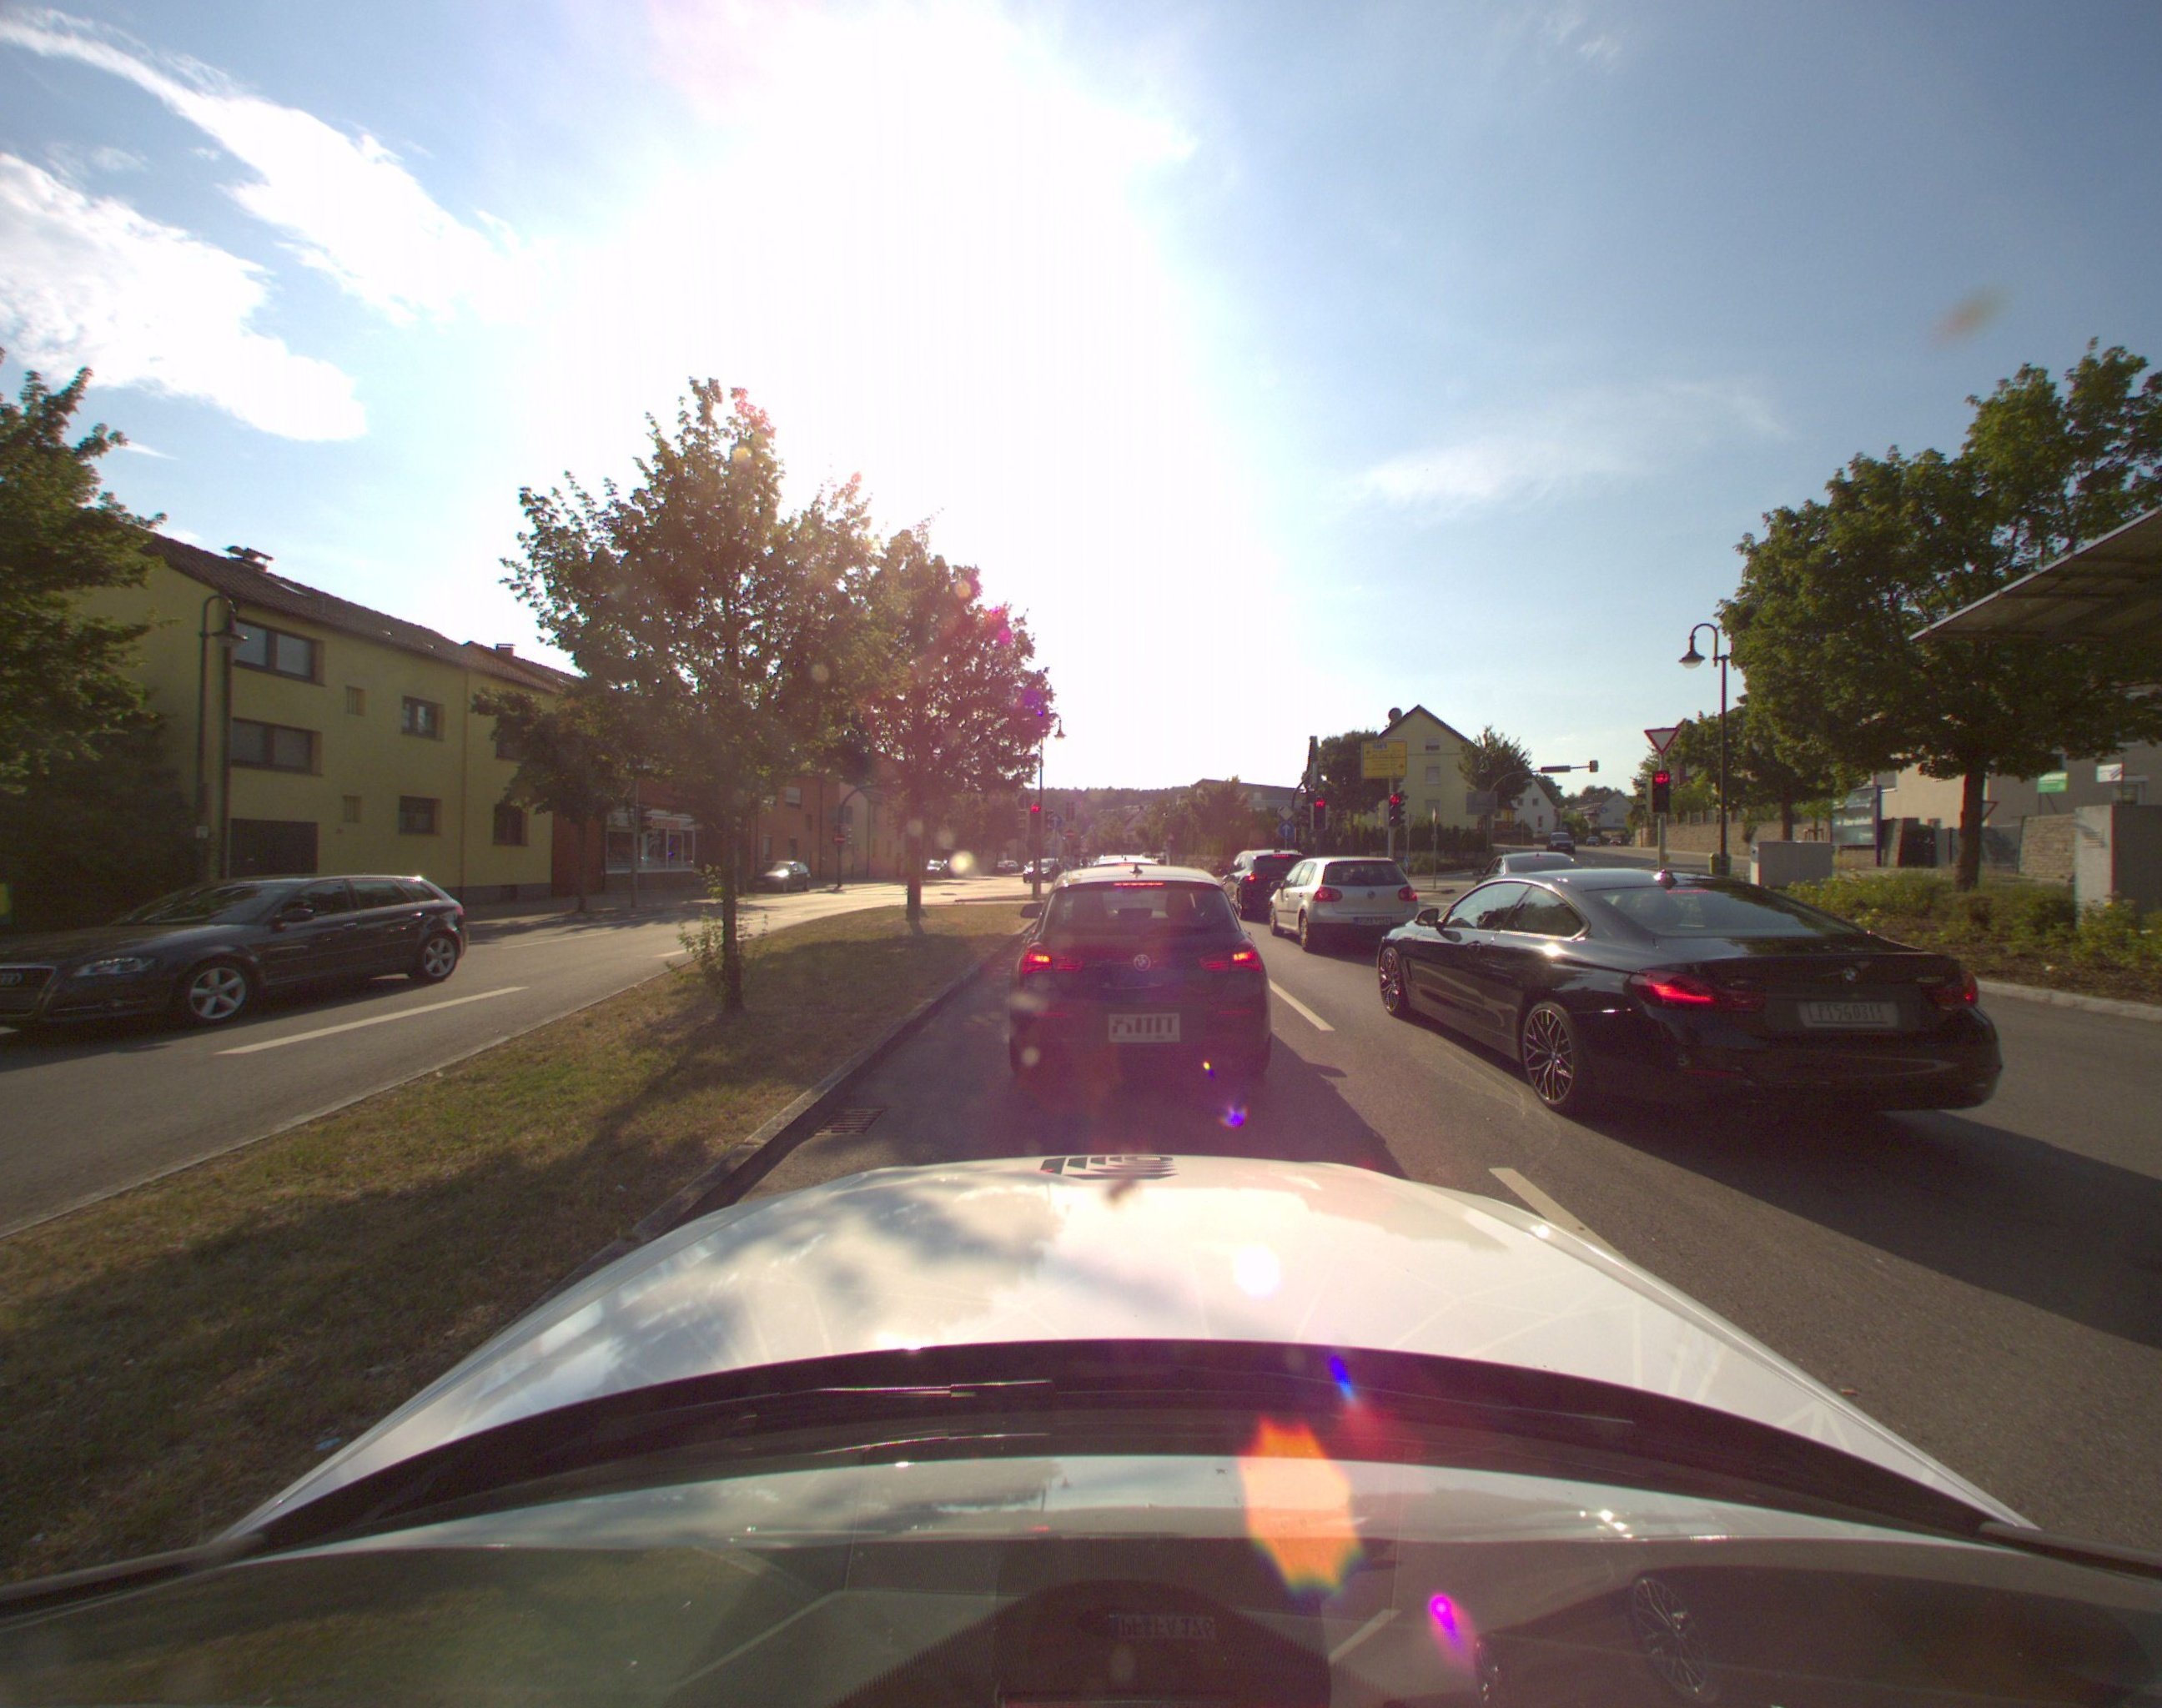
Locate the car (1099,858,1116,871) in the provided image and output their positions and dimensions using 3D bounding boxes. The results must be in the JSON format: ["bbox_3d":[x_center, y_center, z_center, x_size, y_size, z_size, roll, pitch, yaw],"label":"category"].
[{"bbox_3d":[3.636,1.507,113.456,1.887,1.702,4.518,-2,0,-4],"label":"car"}]

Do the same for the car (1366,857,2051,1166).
[{"bbox_3d":[3.627,0.733,5.916,1.808,1.388,4.351,-1,0,3],"label":"car"}]

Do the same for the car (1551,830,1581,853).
[{"bbox_3d":[37.481,-0.997,63.049,1.769,1.506,4.095,0,3,27],"label":"car"}]

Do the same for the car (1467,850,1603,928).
[{"bbox_3d":[9.548,0.655,17.477,1.667,1.435,4.610,-1,0,18],"label":"car"}]

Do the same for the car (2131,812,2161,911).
[{"bbox_3d":[19.335,0.114,12.306,3.958,1.608,1.861,0,0,14],"label":"car"}]

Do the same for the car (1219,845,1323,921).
[{"bbox_3d":[4.606,0.649,20.323,1.808,1.666,4.351,-1,0,3],"label":"car"}]

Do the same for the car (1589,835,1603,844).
[{"bbox_3d":[78.620,-2.185,124.290,1.694,1.244,4.025,-1,1,31],"label":"car"}]

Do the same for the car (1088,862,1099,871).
[{"bbox_3d":[2.389,2.208,150.384,1.917,1.596,4.002,0,0,2],"label":"car"}]

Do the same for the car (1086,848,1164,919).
[{"bbox_3d":[1.148,0.690,21.092,1.808,1.641,4.245,-1,0,3],"label":"car"}]

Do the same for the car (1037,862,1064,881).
[{"bbox_3d":[-2.299,1.306,62.302,1.685,1.353,4.004,0,0,4],"label":"car"}]

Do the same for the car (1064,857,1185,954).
[{"bbox_3d":[0.786,0.786,14.470,1.808,1.451,4.245,-1,0,3],"label":"car"}]

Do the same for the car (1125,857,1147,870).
[{"bbox_3d":[6.253,1.084,92.854,1.858,1.485,4.652,0,0,-4],"label":"car"}]

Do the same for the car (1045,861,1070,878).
[{"bbox_3d":[-1.983,1.315,69.460,1.685,1.353,4.004,0,0,4],"label":"car"}]

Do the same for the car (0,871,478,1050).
[{"bbox_3d":[-8.897,0.919,8.785,1.639,1.386,4.189,0,0,0],"label":"car"}]

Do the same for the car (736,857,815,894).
[{"bbox_3d":[-14.149,0.945,37.982,1.835,1.552,4.005,2,0,5],"label":"car"}]

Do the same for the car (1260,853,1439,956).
[{"bbox_3d":[4.291,0.722,13.749,1.808,1.446,4.351,-1,0,3],"label":"car"}]

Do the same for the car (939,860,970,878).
[{"bbox_3d":[-11.356,1.334,73.300,1.916,1.596,4.004,0,0,4],"label":"car"}]

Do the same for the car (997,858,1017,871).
[{"bbox_3d":[-9.317,1.356,103.245,1.916,1.596,4.004,0,0,4],"label":"car"}]

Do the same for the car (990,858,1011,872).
[{"bbox_3d":[-9.624,1.349,97.743,1.916,1.596,4.004,0,0,4],"label":"car"}]

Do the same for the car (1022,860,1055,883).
[{"bbox_3d":[-2.852,1.163,55.066,1.759,1.458,4.004,0,0,4],"label":"car"}]

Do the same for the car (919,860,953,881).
[{"bbox_3d":[-11.978,1.352,67.502,1.916,1.596,4.004,0,0,4],"label":"car"}]

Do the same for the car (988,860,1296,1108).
[{"bbox_3d":[0.479,0.778,6.930,1.783,1.414,4.351,-1,0,3],"label":"car"}]
